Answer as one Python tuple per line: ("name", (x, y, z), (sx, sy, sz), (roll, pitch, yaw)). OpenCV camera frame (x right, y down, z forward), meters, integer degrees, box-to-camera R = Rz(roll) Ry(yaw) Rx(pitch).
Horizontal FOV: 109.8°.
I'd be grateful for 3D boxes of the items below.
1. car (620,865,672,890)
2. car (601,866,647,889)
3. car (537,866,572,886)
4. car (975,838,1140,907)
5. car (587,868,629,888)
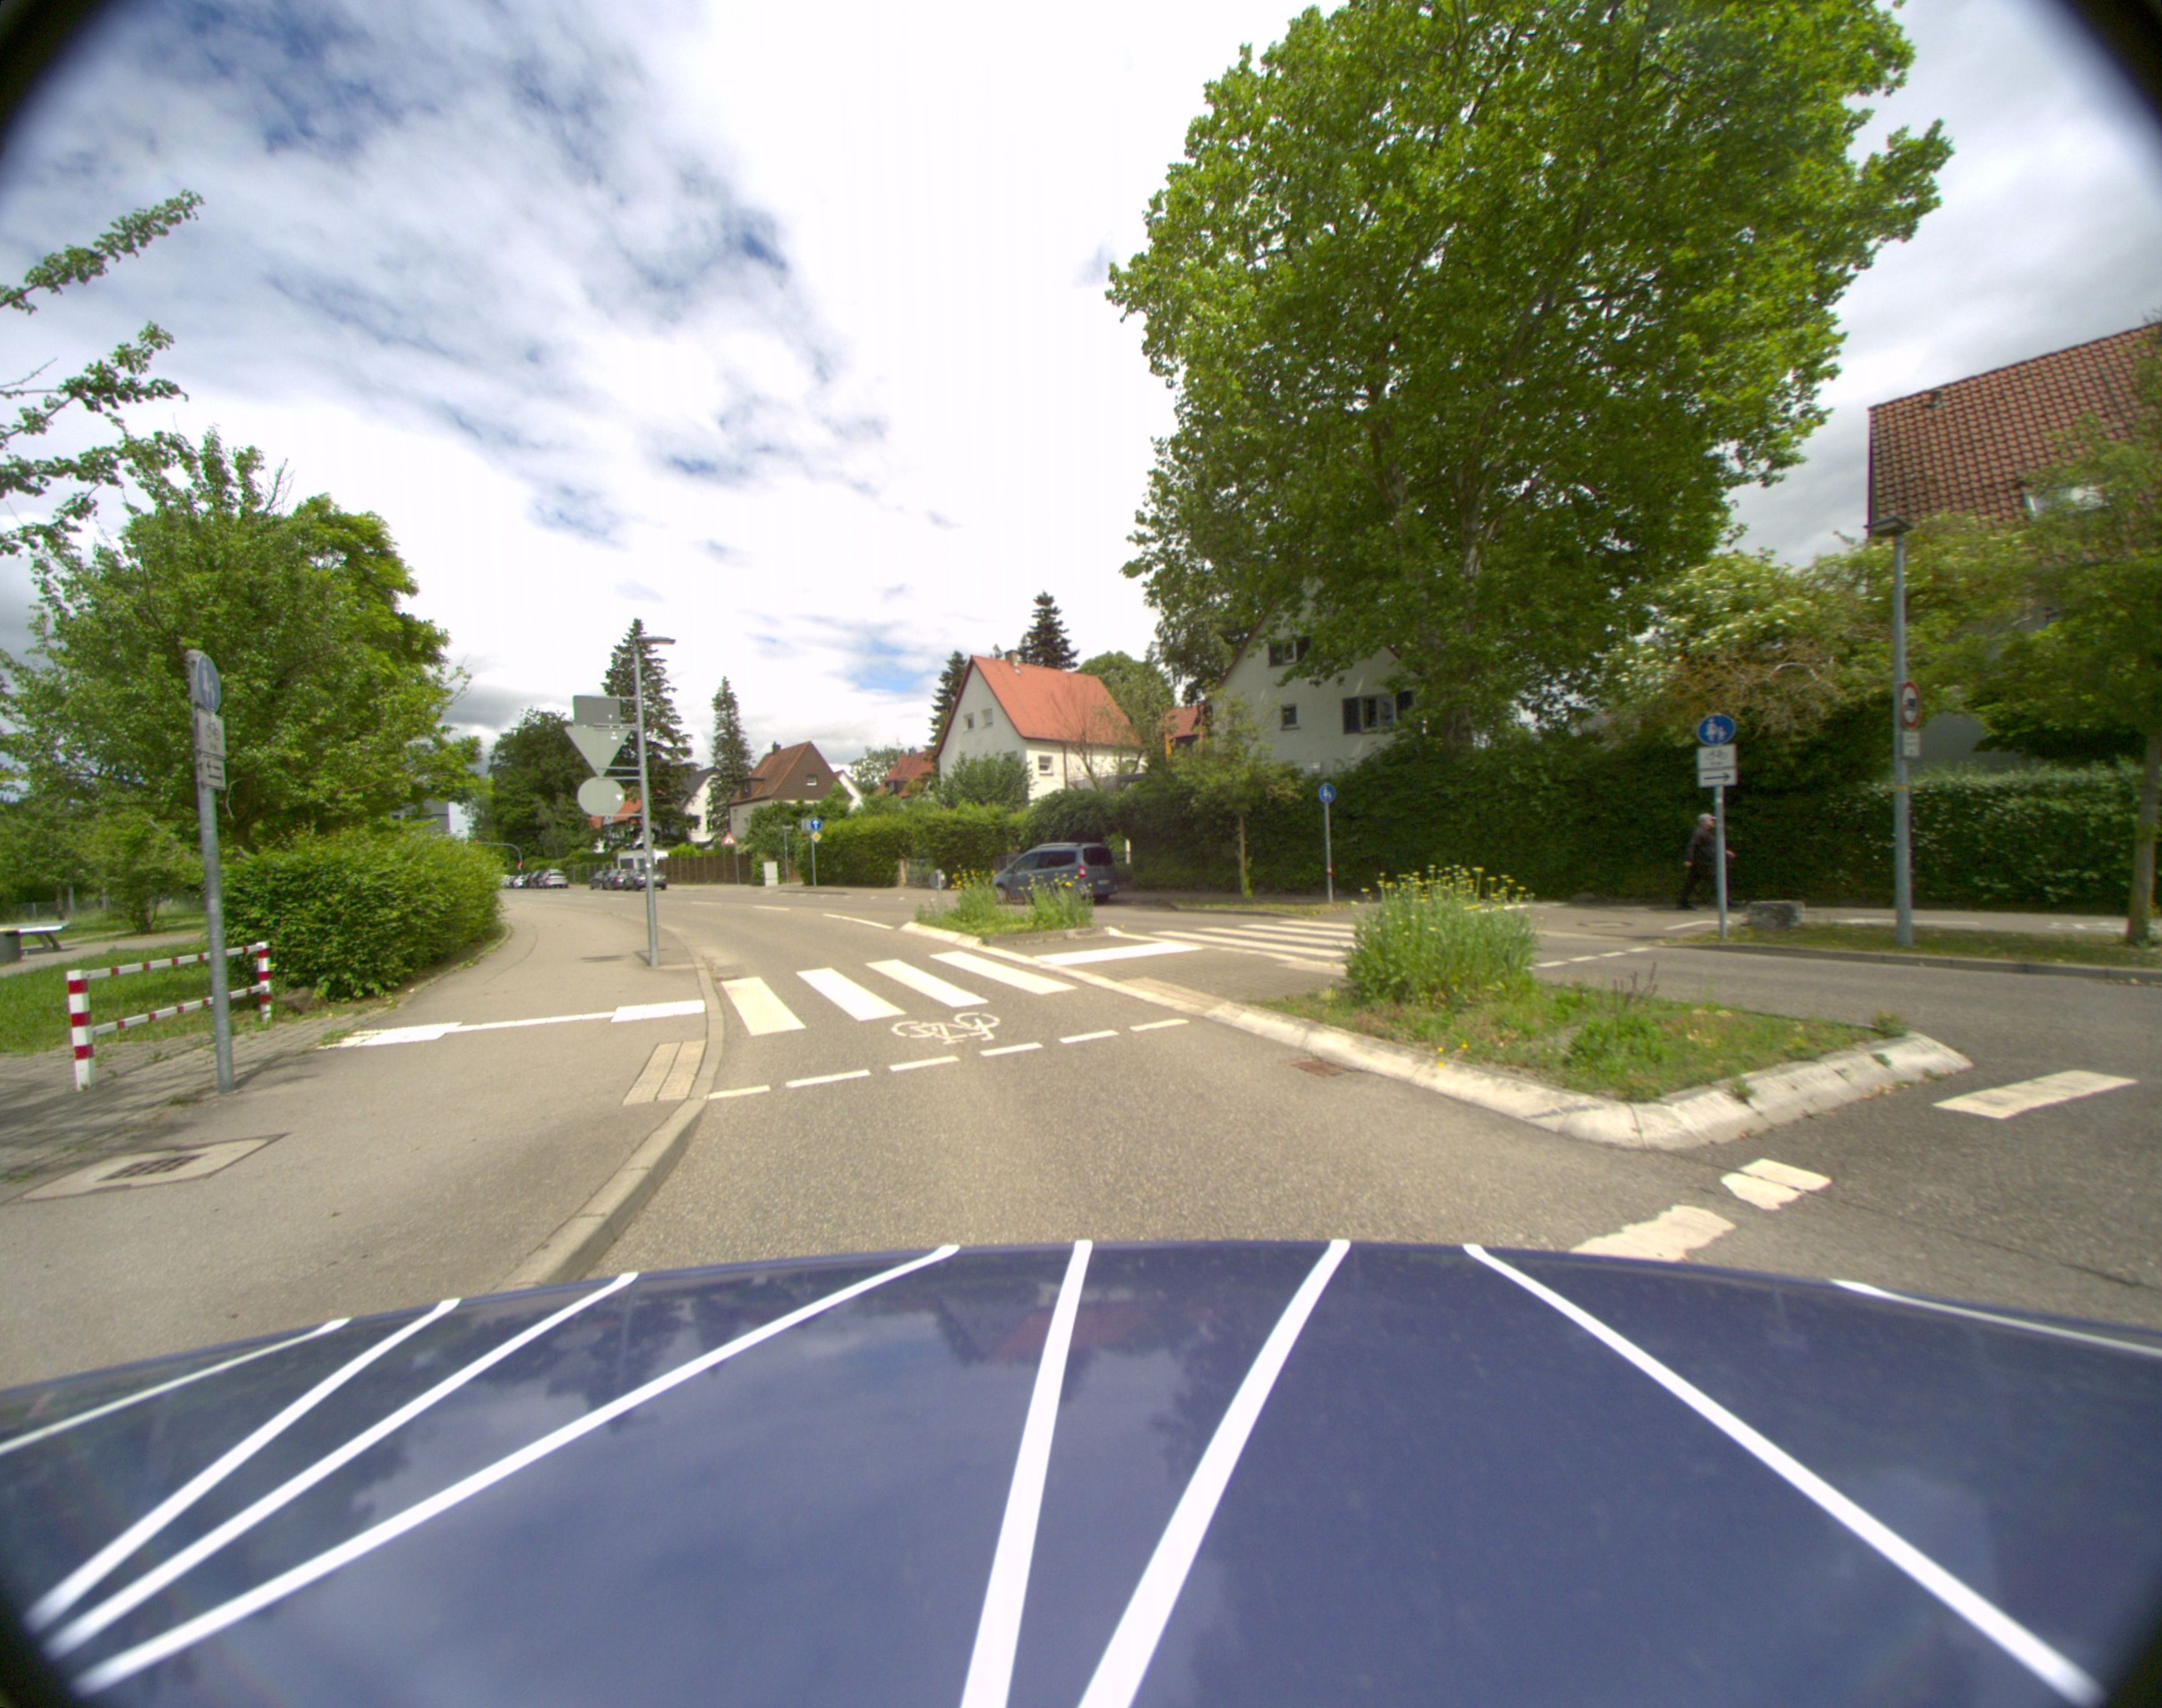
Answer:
("car", (-28.598, 1.535, 49.843), (2.004, 1.471, 4.634), (-2, 0, -41))
("car", (-32.313, 1.635, 53.686), (1.876, 1.451, 4.476), (-4, 1, -42))
("car", (-50.003, 2.107, 72.163), (1.995, 1.808, 4.695), (-4, 1, -43))
("car", (-0.755, 0.554, 22.510), (4.452, 1.763, 2.142), (-2, 3, 39))
("car", (-35.767, 1.816, 57.394), (3.895, 1.418, 1.660), (-3, 0, 42))
